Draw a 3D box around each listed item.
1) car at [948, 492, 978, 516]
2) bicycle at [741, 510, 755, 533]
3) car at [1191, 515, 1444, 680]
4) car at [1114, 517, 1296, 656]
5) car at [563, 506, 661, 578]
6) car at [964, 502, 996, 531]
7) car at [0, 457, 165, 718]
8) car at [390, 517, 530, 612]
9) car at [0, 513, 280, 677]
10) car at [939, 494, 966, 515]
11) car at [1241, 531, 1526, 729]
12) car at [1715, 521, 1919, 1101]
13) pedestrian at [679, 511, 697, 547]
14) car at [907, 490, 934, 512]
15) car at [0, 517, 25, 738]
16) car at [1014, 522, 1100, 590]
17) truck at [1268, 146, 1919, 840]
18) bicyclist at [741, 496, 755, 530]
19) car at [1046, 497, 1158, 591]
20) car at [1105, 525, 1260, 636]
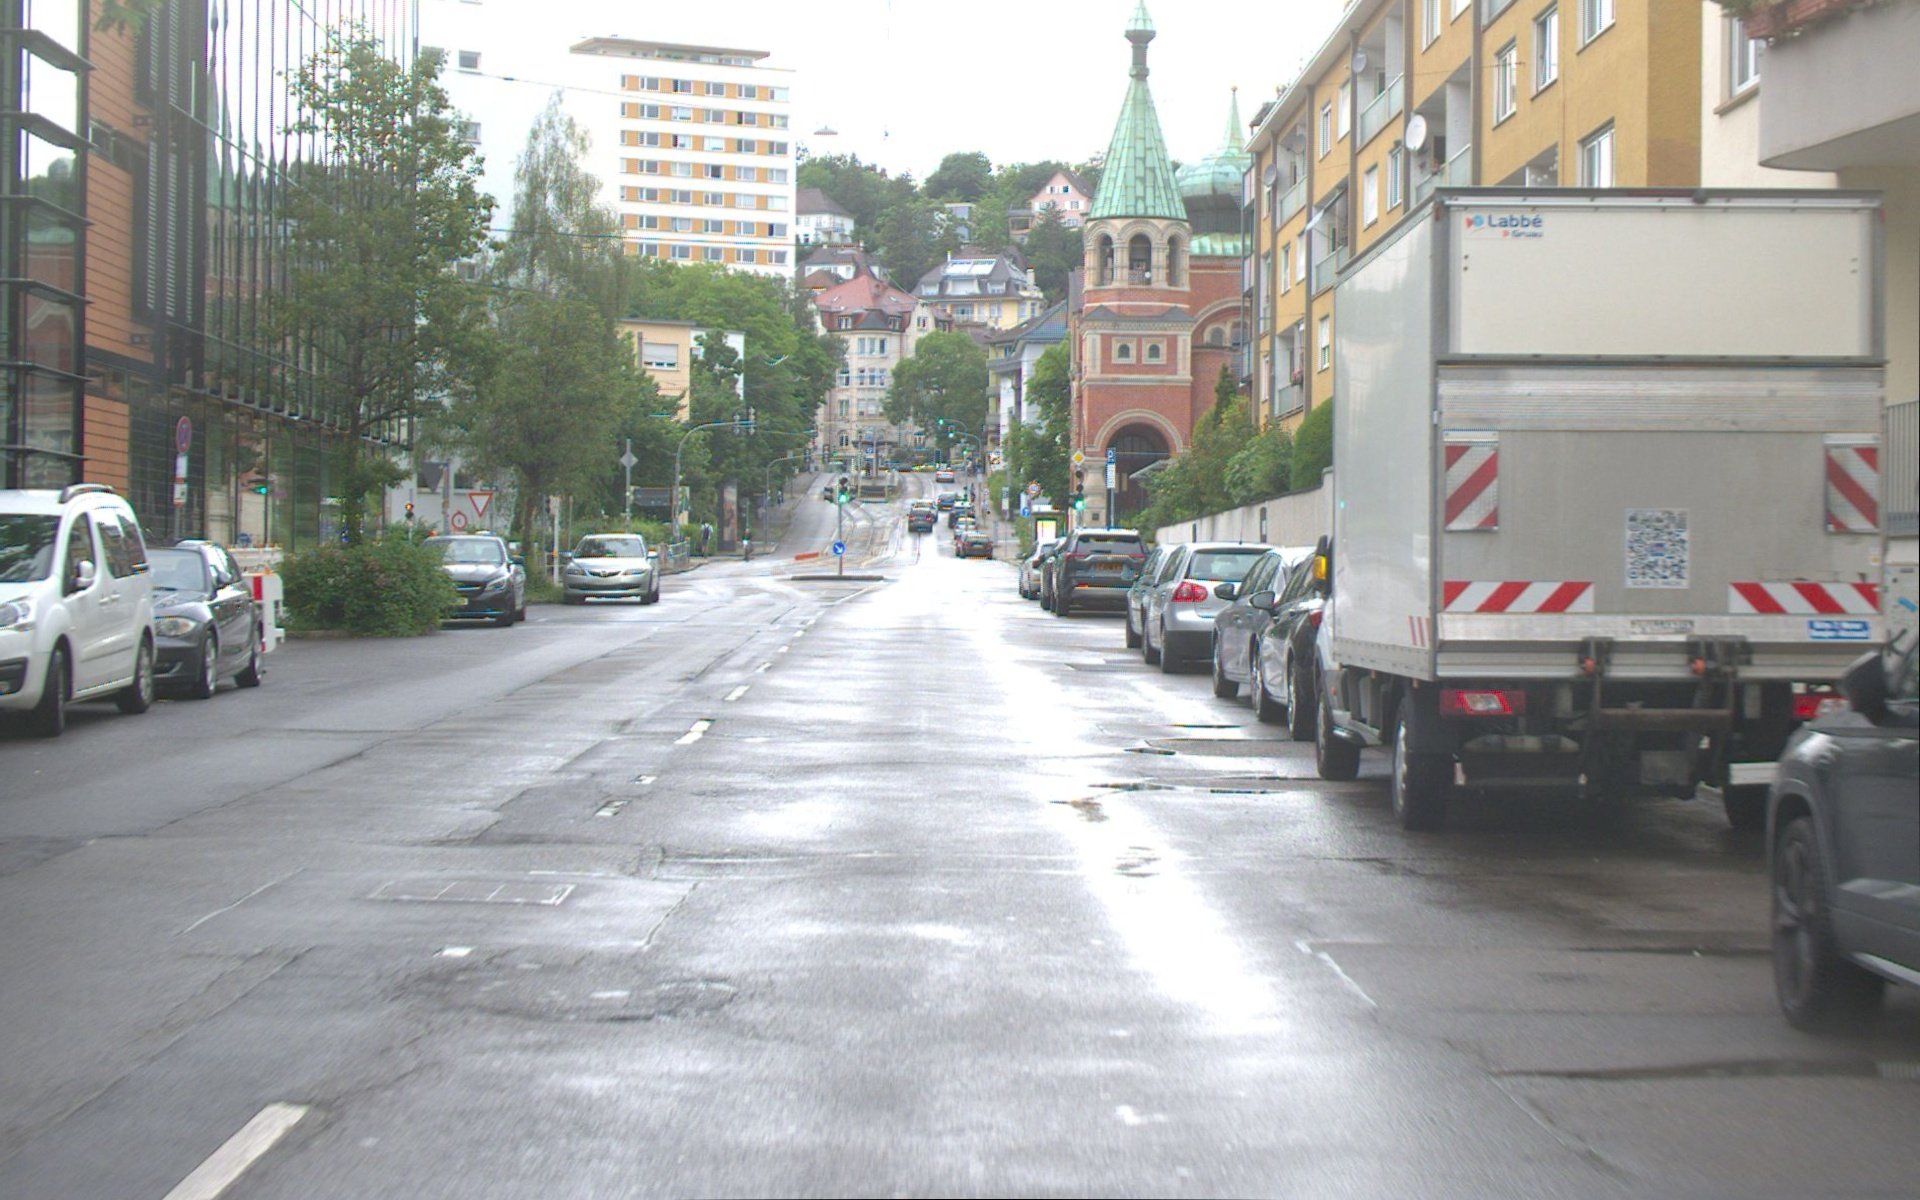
[{"bbox_3d":[0.211,-6.596,236.196,1.892,1.505,4.000,2,1,-1],"label":"car"},{"bbox_3d":[-10.656,-3.955,172.749,0.677,1.104,1.800,1,0,-4],"label":"bicycle"},{"bbox_3d":[3.224,-0.019,31.675,1.663,1.416,3.922,1,0,-4],"label":"car"},{"bbox_3d":[2.759,-0.174,39.465,1.663,1.497,3.922,1,1,-2],"label":"car"},{"bbox_3d":[-7.094,-1.169,70.432,1.709,1.445,4.295,0,0,-2],"label":"car"},{"bbox_3d":[1.164,-4.846,199.867,1.732,1.648,4.000,1,2,2],"label":"car"},{"bbox_3d":[-7.278,-0.101,25.760,1.723,1.794,4.344,0,1,-1],"label":"car"},{"bbox_3d":[-7.970,-0.564,55.130,1.803,1.445,4.658,0,0,-3],"label":"car"},{"bbox_3d":[-7.323,-0.064,31.028,1.723,1.371,4.345,0,1,-3],"label":"car"},{"bbox_3d":[-0.567,-7.008,252.496,1.908,1.505,4.000,2,1,-1],"label":"car"},{"bbox_3d":[3.225,0.177,26.870,1.663,1.416,4.043,1,1,-1],"label":"car"},{"bbox_3d":[3.430,0.574,9.611,1.663,1.568,4.098,1,1,-1],"label":"car"},{"bbox_3d":[-14.228,-3.719,179.975,0.887,1.886,0.923,0,1,-7],"label":"pedestrian"},{"bbox_3d":[-2.838,-7.063,246.049,1.908,1.505,4.000,2,1,-1],"label":"car"},{"bbox_3d":[-7.143,0.200,21.221,1.682,1.457,4.277,0,1,-2],"label":"car"},{"bbox_3d":[2.296,-1.068,82.451,1.817,1.517,4.076,2,1,-1],"label":"car"},{"bbox_3d":[3.318,-0.538,19.300,2.469,3.161,7.036,1,1,0],"label":"truck"},{"bbox_3d":[-10.648,-4.370,172.724,0.677,1.655,0.650,1,0,-4],"label":"bicyclist"},{"bbox_3d":[2.651,-1.066,65.016,1.817,1.647,4.076,2,1,-1],"label":"car"},{"bbox_3d":[2.921,-0.276,45.805,1.663,1.395,3.922,1,1,-2],"label":"car"}]
